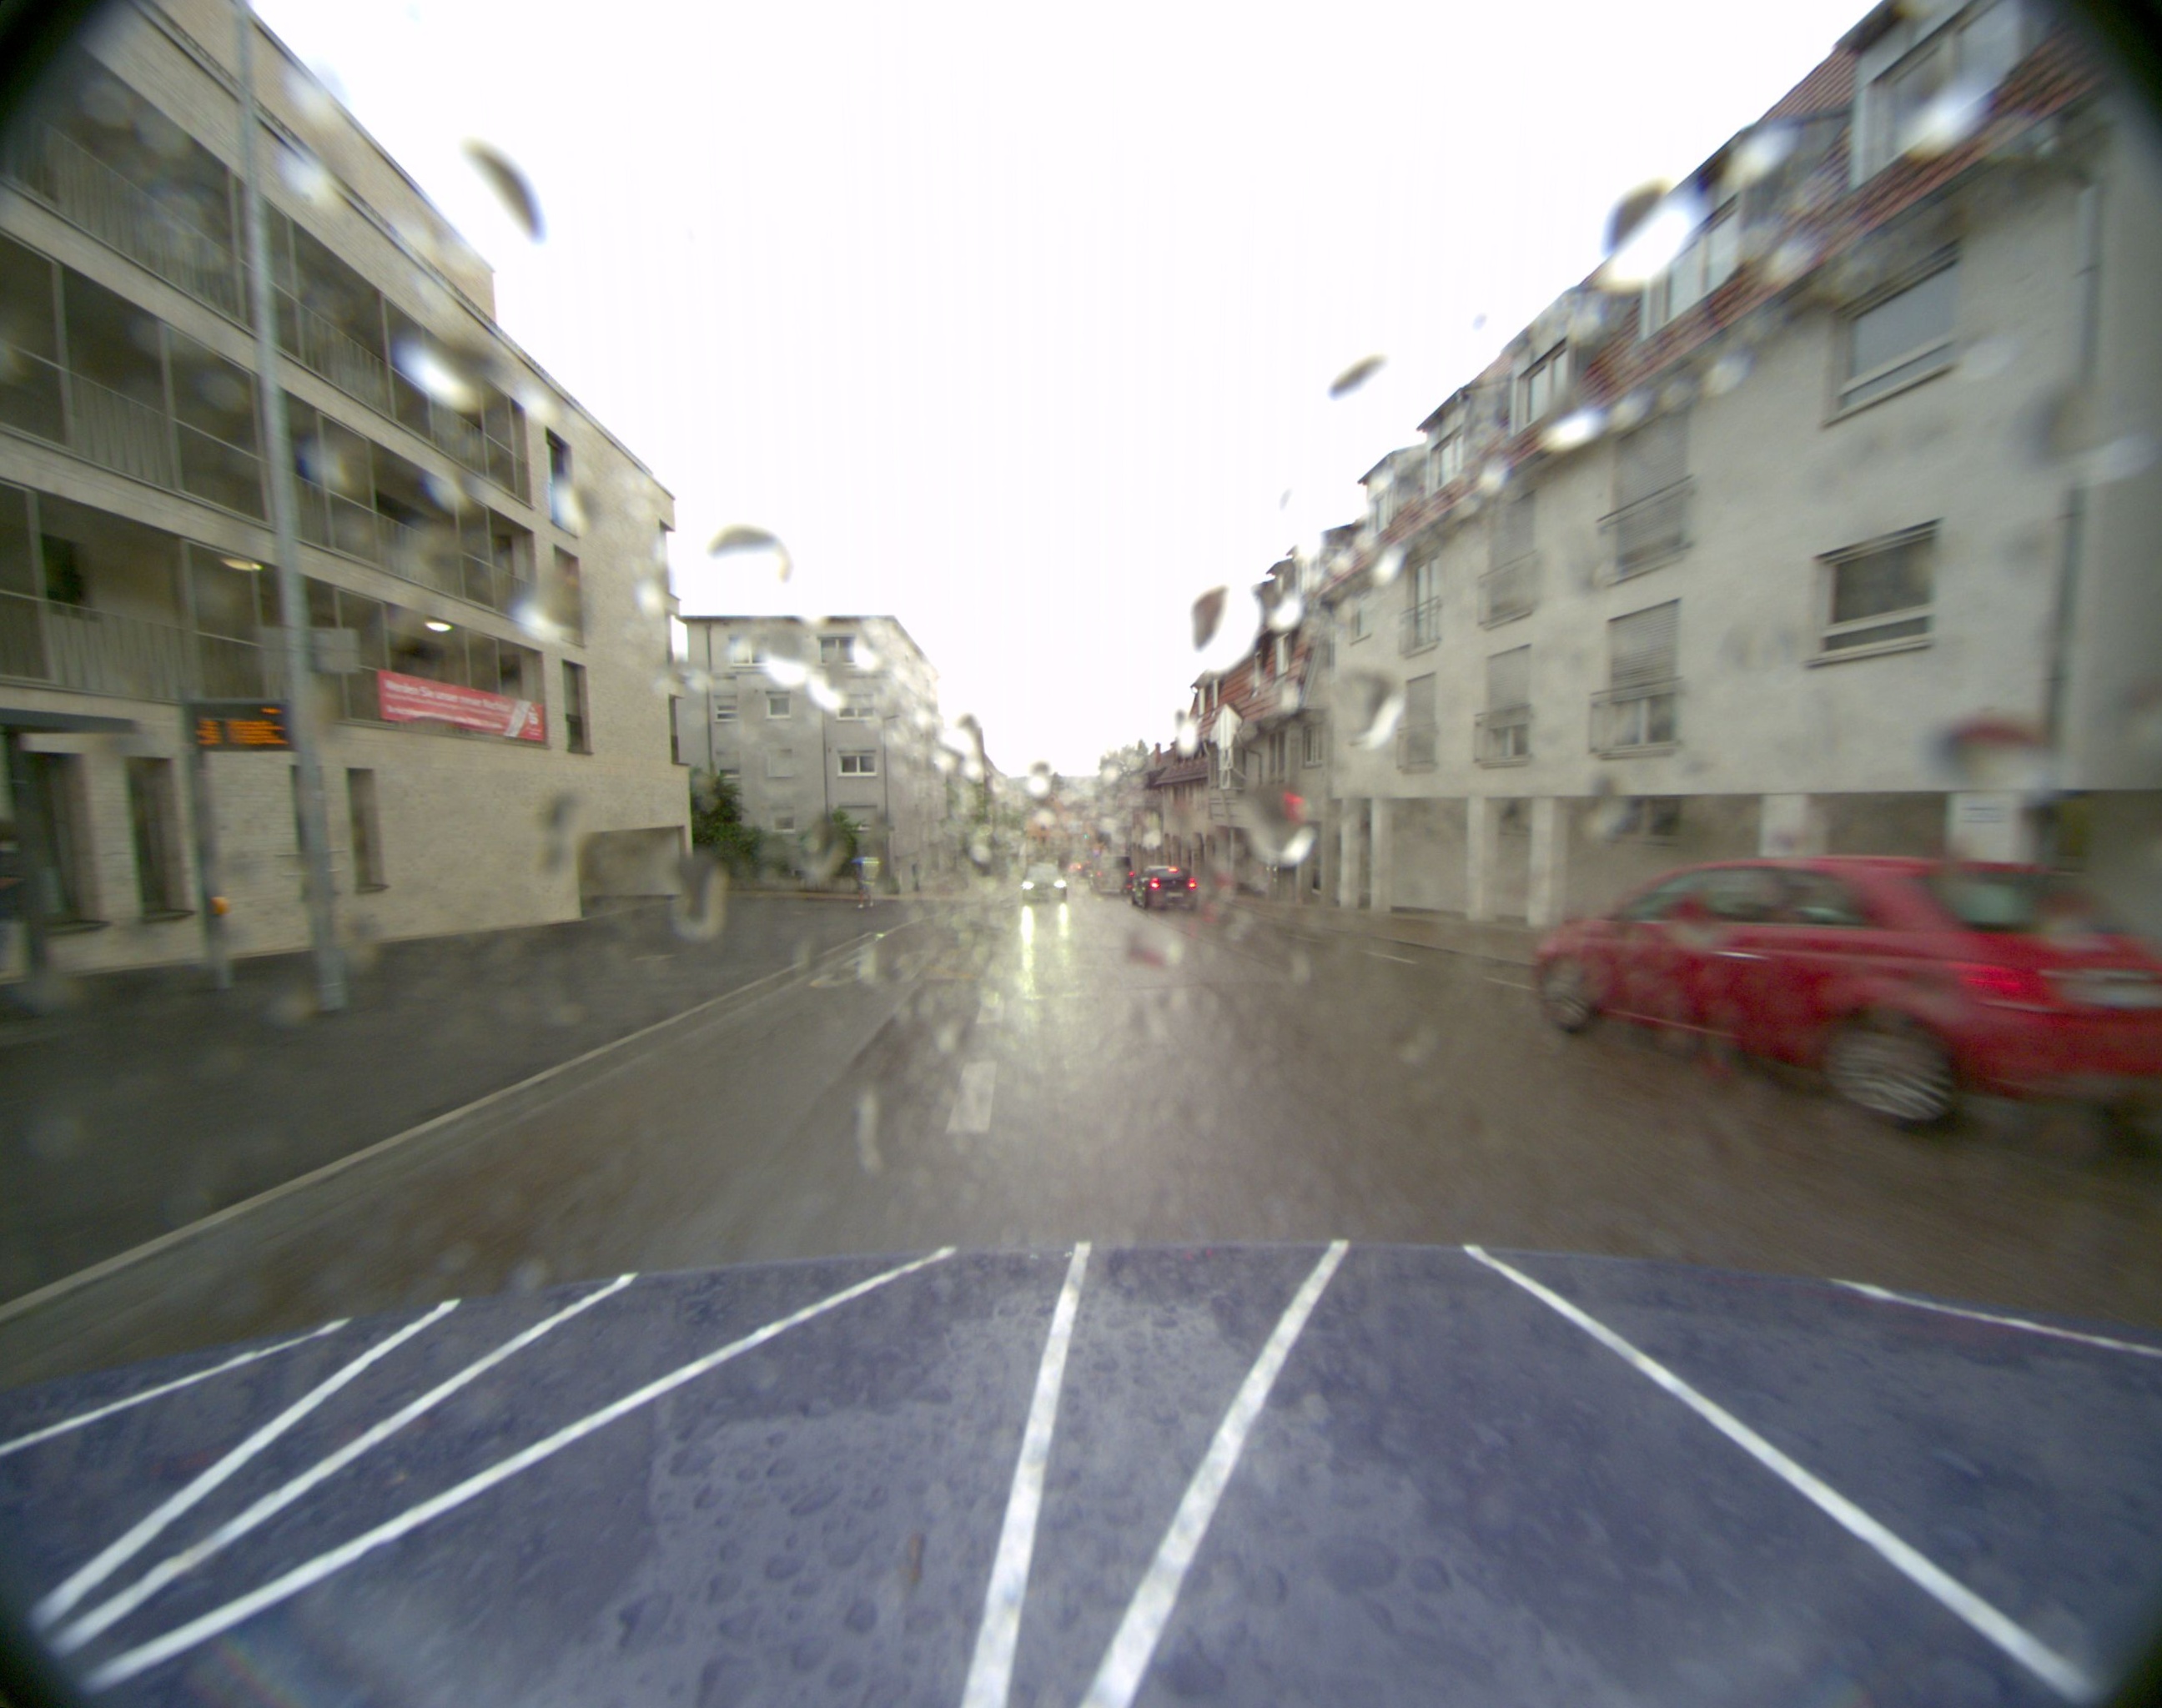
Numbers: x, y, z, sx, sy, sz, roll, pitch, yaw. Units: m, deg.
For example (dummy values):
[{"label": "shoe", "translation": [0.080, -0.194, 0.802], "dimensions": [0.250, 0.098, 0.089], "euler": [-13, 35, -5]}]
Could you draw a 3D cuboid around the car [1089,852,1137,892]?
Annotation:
[{"label": "car", "translation": [1.571, 0.881, 39.376], "dimensions": [1.937, 1.896, 5.041], "euler": [-1, 0, -4]}]

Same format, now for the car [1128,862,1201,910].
[{"label": "car", "translation": [2.717, 1.006, 25.523], "dimensions": [1.692, 1.435, 3.908], "euler": [-1, 0, -5]}]

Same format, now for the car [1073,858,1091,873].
[{"label": "car", "translation": [0.095, 1.188, 77.961], "dimensions": [1.681, 1.501, 3.588], "euler": [-1, 0, -2]}]

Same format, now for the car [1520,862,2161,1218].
[{"label": "car", "translation": [4.897, 0.837, 5.131], "dimensions": [1.564, 1.527, 3.446], "euler": [0, 0, -8]}]

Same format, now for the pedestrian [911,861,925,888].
[{"label": "pedestrian", "translation": [-9.355, 1.166, 43.689], "dimensions": [0.692, 1.547, 0.710], "euler": [-2, 0, -9]}]

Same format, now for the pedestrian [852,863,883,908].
[{"label": "pedestrian", "translation": [-7.593, 1.113, 27.048], "dimensions": [0.737, 1.533, 1.038], "euler": [2, 0, 0]}]

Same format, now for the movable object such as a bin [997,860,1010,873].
[{"label": "movable object such as a bin", "translation": [-8.257, 1.350, 81.186], "dimensions": [1.238, 1.327, 1.172], "euler": [0, 0, -1]}]

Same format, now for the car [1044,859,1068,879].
[{"label": "car", "translation": [-2.162, 1.326, 66.751], "dimensions": [1.967, 1.598, 4.384], "euler": [-1, -1, -1]}]

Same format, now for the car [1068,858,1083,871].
[{"label": "car", "translation": [-0.718, 1.234, 93.343], "dimensions": [1.682, 1.501, 3.587], "euler": [-1, 0, -4]}]

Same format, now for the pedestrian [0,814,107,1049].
[{"label": "pedestrian", "translation": [-9.254, 0.633, 6.396], "dimensions": [0.784, 1.929, 1.021], "euler": [1, 1, -2]}]

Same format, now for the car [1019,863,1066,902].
[{"label": "car", "translation": [-1.672, 1.231, 34.097], "dimensions": [1.968, 1.549, 4.622], "euler": [-1, 0, -2]}]

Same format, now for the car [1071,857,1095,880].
[{"label": "car", "translation": [0.140, 1.136, 60.483], "dimensions": [1.787, 1.684, 4.459], "euler": [-1, 0, -2]}]

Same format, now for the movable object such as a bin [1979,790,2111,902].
[{"label": "movable object such as a bin", "translation": [9.113, -0.072, 7.197], "dimensions": [0.509, 1.000, 0.585], "euler": [-1, 0, -7]}]
